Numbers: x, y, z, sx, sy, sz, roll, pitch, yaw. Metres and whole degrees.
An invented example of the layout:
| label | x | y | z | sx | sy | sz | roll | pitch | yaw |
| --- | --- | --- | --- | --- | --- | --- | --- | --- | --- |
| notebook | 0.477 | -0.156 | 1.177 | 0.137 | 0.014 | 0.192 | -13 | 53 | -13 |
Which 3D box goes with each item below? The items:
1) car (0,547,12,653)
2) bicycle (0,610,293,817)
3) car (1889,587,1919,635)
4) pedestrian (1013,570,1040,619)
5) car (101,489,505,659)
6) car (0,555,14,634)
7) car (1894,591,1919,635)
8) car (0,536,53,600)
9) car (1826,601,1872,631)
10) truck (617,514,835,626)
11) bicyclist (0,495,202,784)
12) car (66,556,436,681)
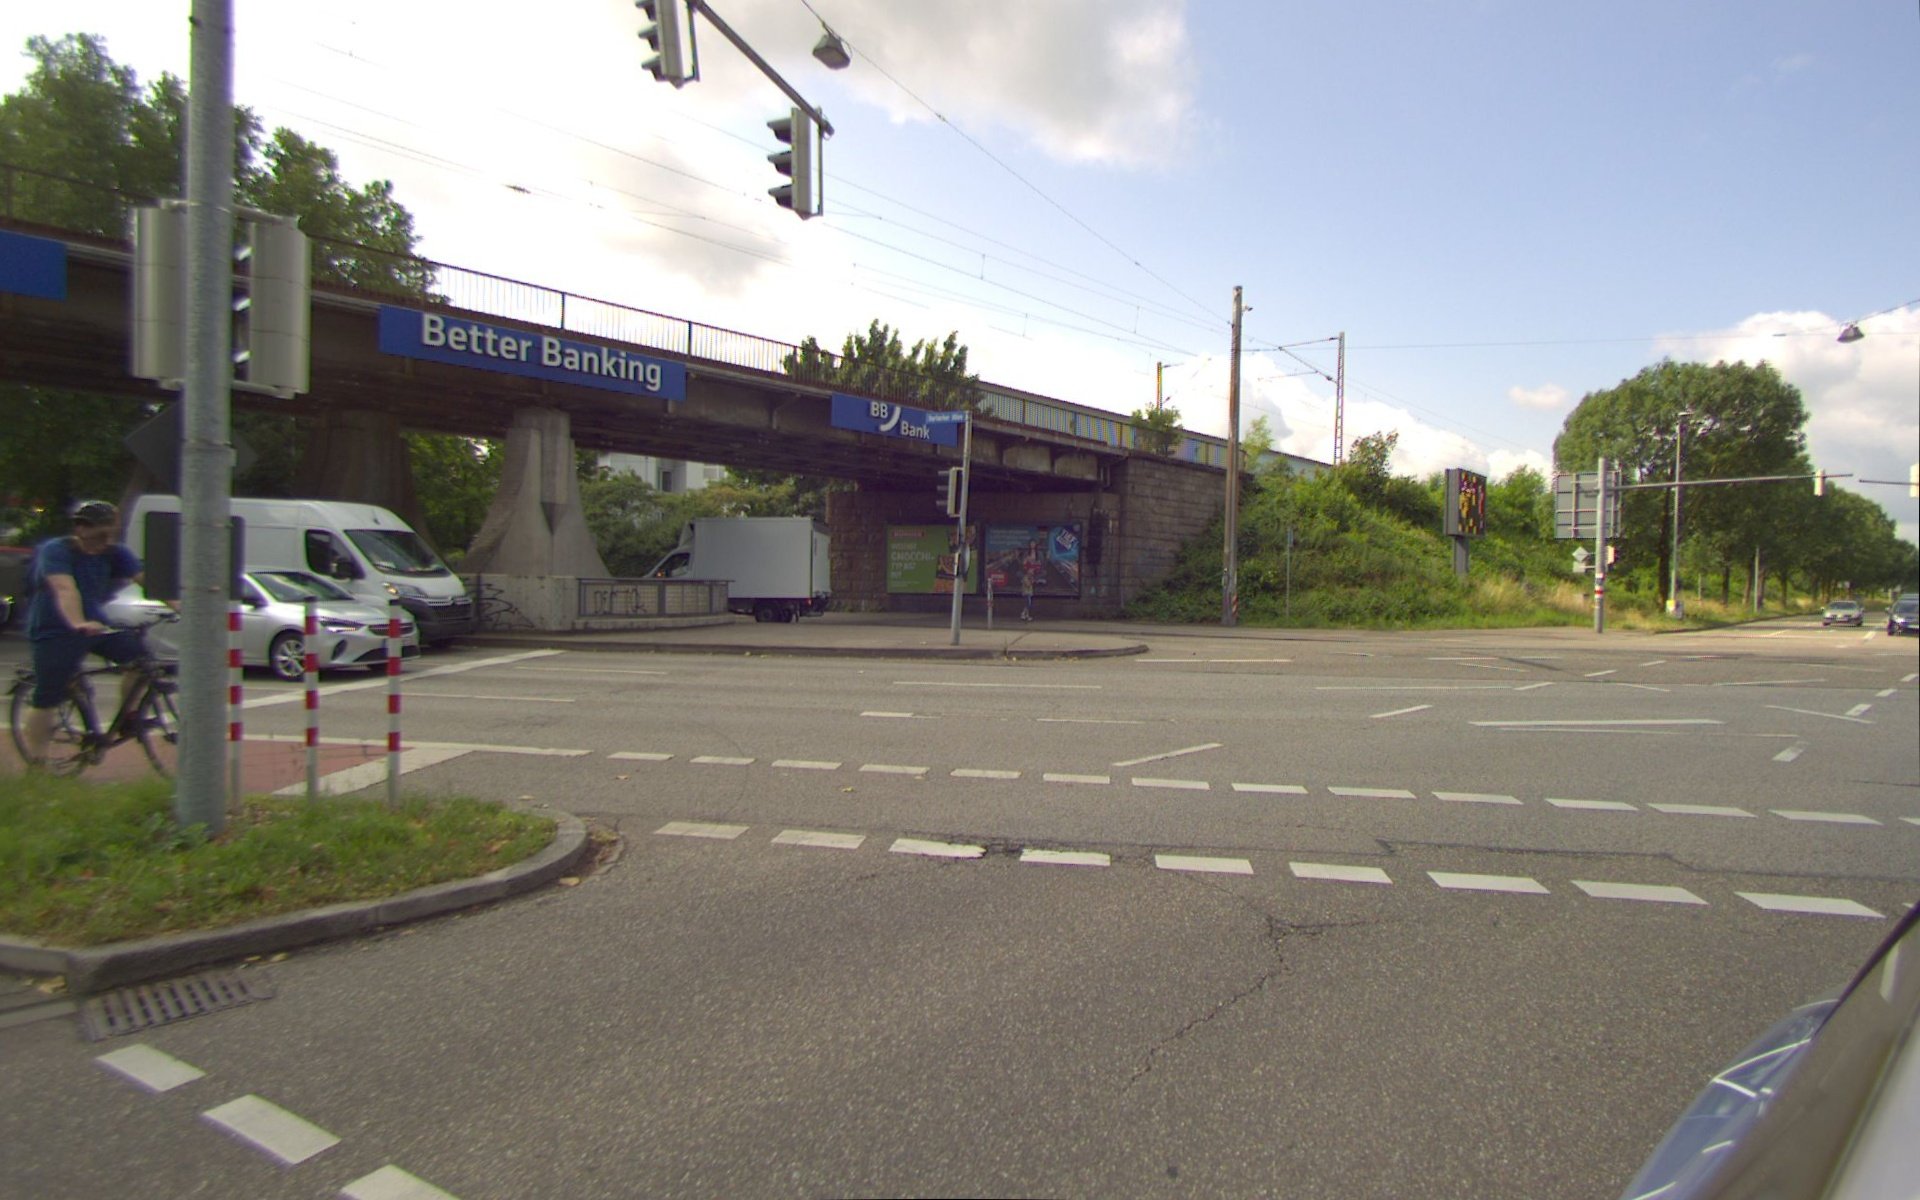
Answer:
| label | x | y | z | sx | sy | sz | roll | pitch | yaw |
| --- | --- | --- | --- | --- | --- | --- | --- | --- | --- |
| car | -16.921 | -0.084 | 14.855 | 4.582 | 1.603 | 1.768 | 2 | 0 | 5 |
| bicycle | -5.541 | 0.652 | 6.455 | 2.286 | 1.106 | 0.841 | 0 | 4 | 17 |
| car | 43.850 | 0.493 | 46.286 | 1.970 | 1.769 | 3.966 | 2 | 7 | 43 |
| pedestrian | 2.349 | -0.209 | 35.646 | 0.689 | 1.671 | 0.601 | 1 | 3 | 39 |
| car | -10.910 | -0.465 | 17.015 | 5.536 | 2.555 | 2.261 | -1 | 5 | 11 |
| car | -19.171 | -0.136 | 17.947 | 3.679 | 1.415 | 1.646 | 2 | 1 | 11 |
| car | 40.489 | 0.534 | 42.420 | 3.768 | 1.537 | 1.737 | -5 | 5 | -44 |
| car | -32.927 | -1.098 | 33.387 | 4.598 | 2.042 | 1.958 | 1 | 1 | 8 |
| car | 49.301 | 0.855 | 56.085 | 1.712 | 1.504 | 3.936 | 2 | 1 | 44 |
| truck | -6.905 | -0.881 | 30.323 | 5.918 | 3.161 | 2.452 | 1 | 0 | 4 |
| bicyclist | -5.605 | 0.205 | 6.450 | 0.812 | 1.698 | 0.841 | 0 | 4 | 16 |
| car | -9.291 | 0.182 | 13.413 | 3.933 | 1.495 | 1.705 | 1 | 2 | 8 |
